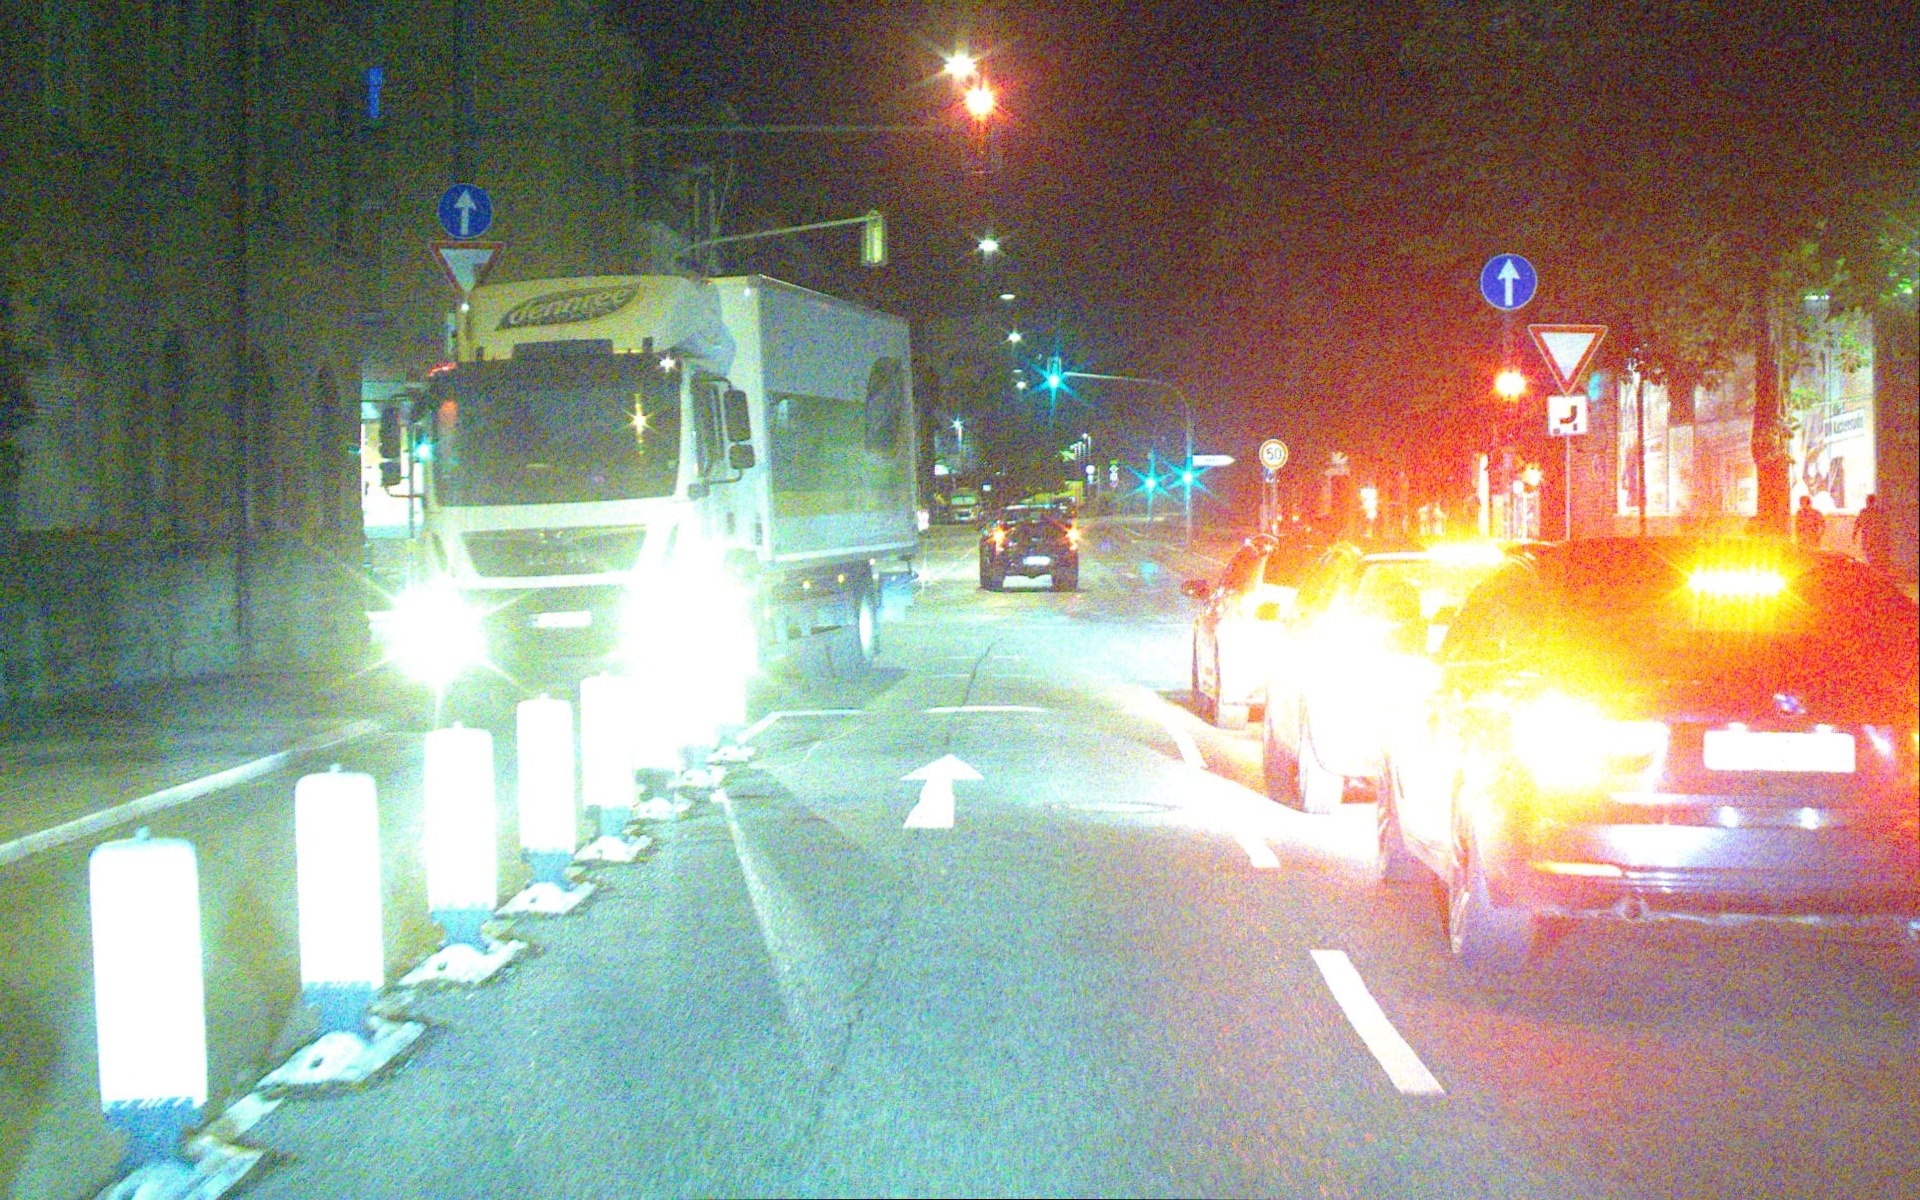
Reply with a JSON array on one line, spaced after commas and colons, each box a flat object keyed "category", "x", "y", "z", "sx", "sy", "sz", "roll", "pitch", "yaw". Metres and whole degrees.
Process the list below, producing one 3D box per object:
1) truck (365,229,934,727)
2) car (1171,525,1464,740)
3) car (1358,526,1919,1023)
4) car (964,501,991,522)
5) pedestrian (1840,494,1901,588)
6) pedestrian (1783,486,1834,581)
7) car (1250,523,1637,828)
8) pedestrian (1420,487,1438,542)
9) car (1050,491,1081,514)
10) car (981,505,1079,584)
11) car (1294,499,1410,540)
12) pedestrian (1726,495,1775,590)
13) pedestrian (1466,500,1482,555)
[{"category": "truck", "x": -2.424, "y": -1.057, "z": 31.238, "sx": 2.756, "sy": 3.705, "sz": 10.110, "roll": -2, "pitch": 1, "yaw": 8}, {"category": "car", "x": 2.604, "y": 0.180, "z": 25.902, "sx": 1.729, "sy": 1.430, "sz": 4.211, "roll": 1, "pitch": 1, "yaw": 0}, {"category": "car", "x": 2.619, "y": 0.493, "z": 12.940, "sx": 1.805, "sy": 1.489, "sz": 4.729, "roll": 2, "pitch": 1, "yaw": 2}, {"category": "car", "x": 1.197, "y": -6.040, "z": 234.433, "sx": 1.777, "sy": 1.385, "sz": 4.001, "roll": -1, "pitch": 2, "yaw": -1}, {"category": "pedestrian", "x": 17.279, "y": -1.128, "z": 65.255, "sx": 0.901, "sy": 1.763, "sz": 0.907, "roll": -1, "pitch": 1, "yaw": 1}, {"category": "pedestrian", "x": 16.126, "y": -1.266, "z": 65.366, "sx": 0.739, "sy": 1.763, "sz": 0.907, "roll": -1, "pitch": 1, "yaw": 1}, {"category": "car", "x": 2.604, "y": 0.334, "z": 19.326, "sx": 1.637, "sy": 1.489, "sz": 4.000, "roll": 1, "pitch": 1, "yaw": 1}, {"category": "pedestrian", "x": 17.015, "y": -3.102, "z": 124.755, "sx": 0.531, "sy": 2.007, "sz": 0.670, "roll": -1, "pitch": 1, "yaw": 1}, {"category": "car", "x": 7.625, "y": -7.057, "z": 249.047, "sx": 1.993, "sy": 1.590, "sz": 4.000, "roll": -1, "pitch": 1, "yaw": -1}, {"category": "car", "x": 1.497, "y": -1.223, "z": 74.758, "sx": 1.993, "sy": 1.634, "sz": 4.000, "roll": -1, "pitch": 1, "yaw": 0}, {"category": "car", "x": 13.815, "y": -2.842, "z": 121.235, "sx": 3.987, "sy": 1.381, "sz": 1.771, "roll": -1, "pitch": 2, "yaw": 4}, {"category": "pedestrian", "x": 15.010, "y": -1.097, "z": 65.271, "sx": 0.714, "sy": 1.763, "sz": 0.907, "roll": -1, "pitch": 1, "yaw": 1}, {"category": "pedestrian", "x": 18.648, "y": -2.626, "z": 124.748, "sx": 0.488, "sy": 2.007, "sz": 0.551, "roll": -1, "pitch": 1, "yaw": 1}]
